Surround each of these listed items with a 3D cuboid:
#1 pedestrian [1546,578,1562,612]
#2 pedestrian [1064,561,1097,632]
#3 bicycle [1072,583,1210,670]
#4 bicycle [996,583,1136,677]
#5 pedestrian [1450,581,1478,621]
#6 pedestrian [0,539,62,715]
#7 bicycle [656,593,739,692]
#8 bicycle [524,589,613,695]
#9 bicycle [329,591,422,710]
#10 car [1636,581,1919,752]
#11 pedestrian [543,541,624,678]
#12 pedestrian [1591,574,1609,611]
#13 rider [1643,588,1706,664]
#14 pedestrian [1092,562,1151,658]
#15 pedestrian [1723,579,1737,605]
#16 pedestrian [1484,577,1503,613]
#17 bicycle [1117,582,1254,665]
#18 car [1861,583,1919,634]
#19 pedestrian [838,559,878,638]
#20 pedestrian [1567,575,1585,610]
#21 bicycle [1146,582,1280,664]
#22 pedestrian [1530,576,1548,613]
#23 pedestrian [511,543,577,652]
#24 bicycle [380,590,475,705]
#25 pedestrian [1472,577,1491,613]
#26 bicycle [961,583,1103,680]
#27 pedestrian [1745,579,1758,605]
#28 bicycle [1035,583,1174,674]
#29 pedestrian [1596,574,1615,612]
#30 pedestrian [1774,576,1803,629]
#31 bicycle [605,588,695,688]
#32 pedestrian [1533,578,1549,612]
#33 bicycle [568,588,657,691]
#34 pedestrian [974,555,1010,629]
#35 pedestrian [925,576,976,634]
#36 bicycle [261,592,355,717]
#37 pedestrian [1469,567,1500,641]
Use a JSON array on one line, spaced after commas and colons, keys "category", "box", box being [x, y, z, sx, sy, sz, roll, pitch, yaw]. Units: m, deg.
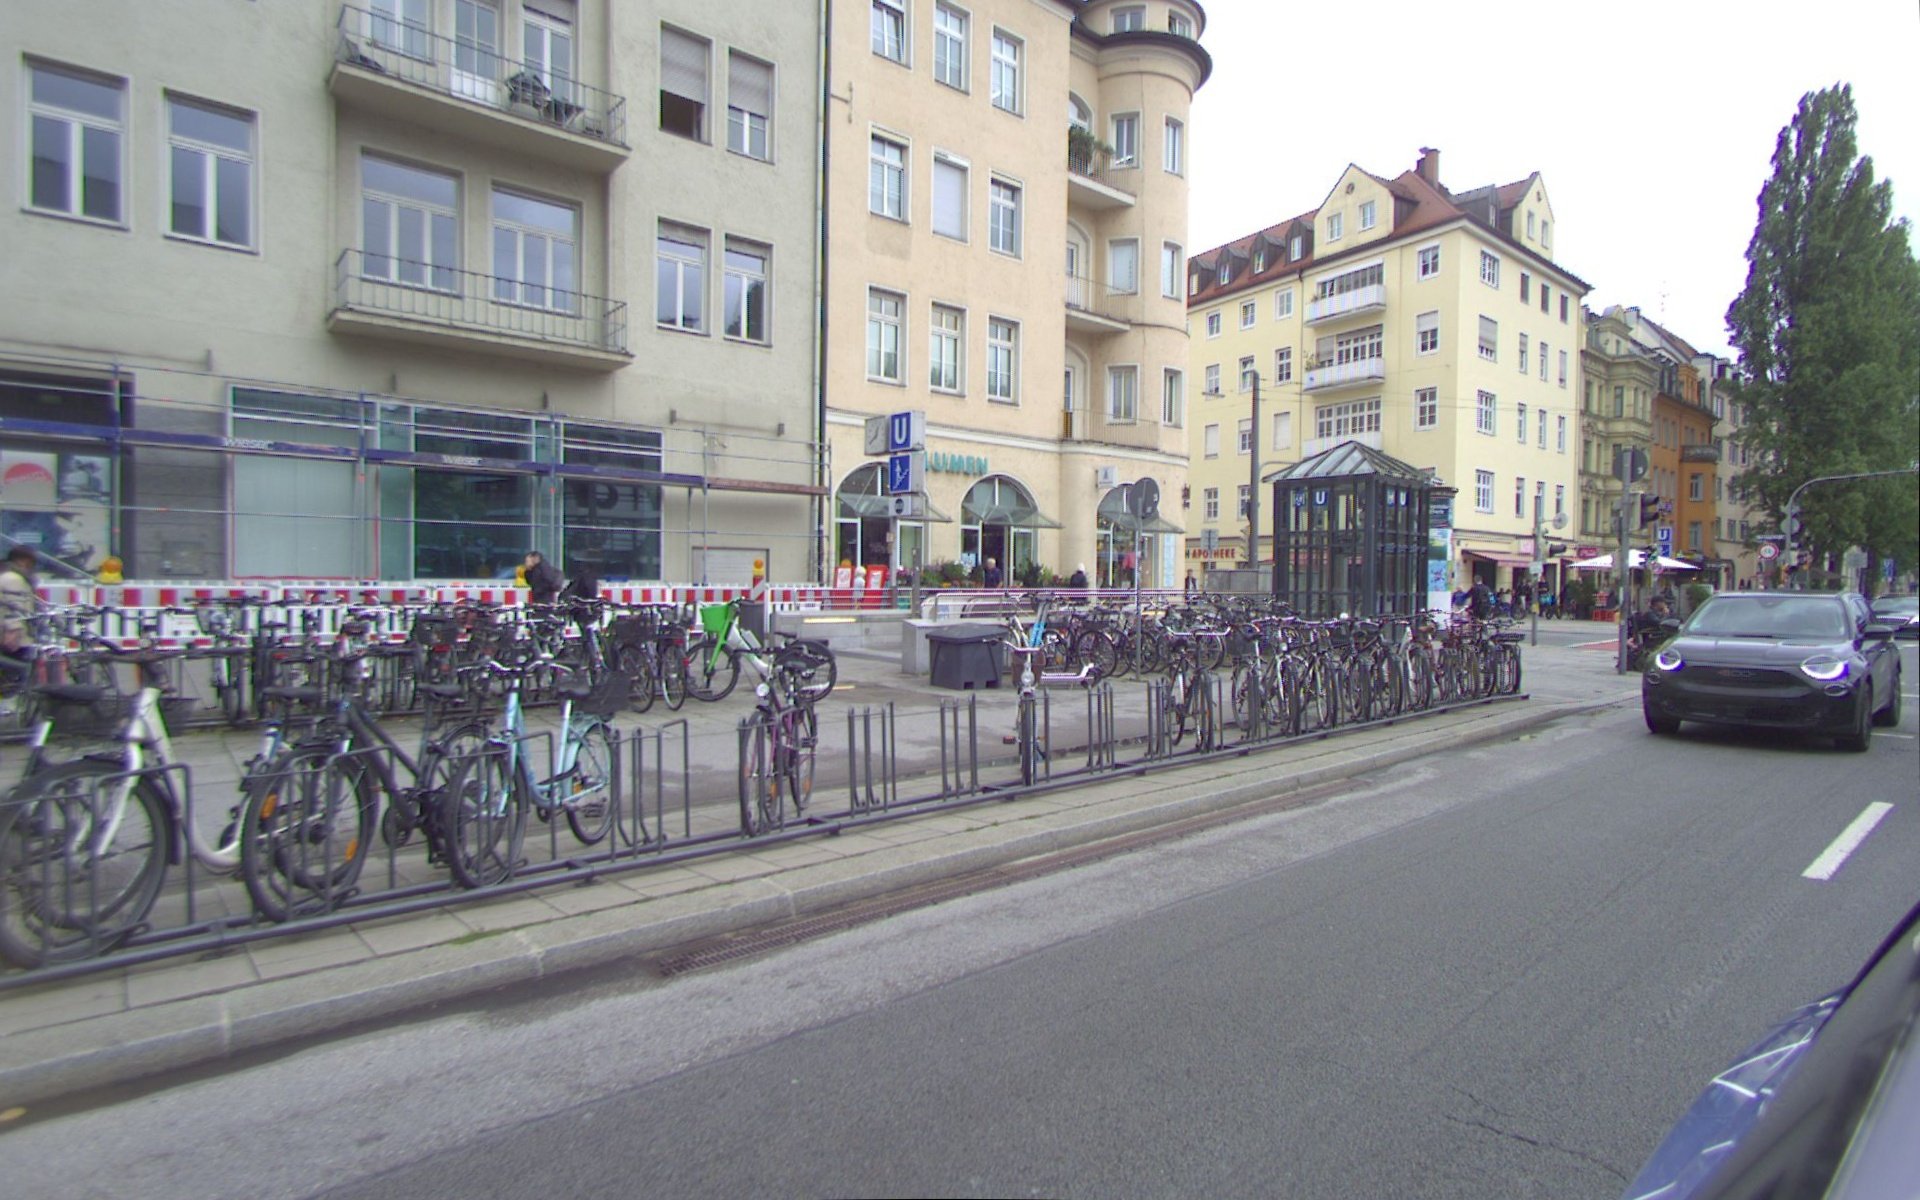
[{"category": "pedestrian", "box": [27.894, -0.241, 47.543, 0.527, 1.545, 0.576, 2, 1, 42]}, {"category": "pedestrian", "box": [2.974, -0.097, 24.935, 0.580, 1.722, 0.566, -2, 3, -41]}, {"category": "bicycle", "box": [2.812, 0.375, 16.010, 0.617, 1.242, 2.344, 0, 2, -37]}, {"category": "bicycle", "box": [1.520, 0.395, 15.026, 0.617, 1.242, 2.344, 0, 2, -37]}, {"category": "pedestrian", "box": [20.047, 0.033, 40.265, 0.817, 1.586, 0.714, -1, 0, -40]}, {"category": "pedestrian", "box": [-8.942, 0.234, 9.557, 0.656, 1.602, 0.531, 1, 1, 31]}, {"category": "bicycle", "box": [-3.316, 0.493, 12.691, 0.402, 1.091, 1.651, 0, 3, -37]}, {"category": "bicycle", "box": [-4.491, 0.446, 11.567, 0.403, 1.091, 1.449, -1, 3, -45]}, {"category": "bicycle", "box": [-6.044, 0.482, 10.437, 1.447, 1.091, 0.404, 3, 3, 42]}, {"category": "car", "box": [8.861, 0.554, 10.831, 3.980, 1.488, 1.738, 0, 1, -41]}, {"category": "pedestrian", "box": [-4.900, 0.111, 13.193, 0.728, 1.729, 0.703, 1, 1, 9]}, {"category": "pedestrian", "box": [30.135, -0.348, 47.648, 0.575, 1.705, 0.552, 0, 1, -39]}, {"category": "rider", "box": [12.707, 0.441, 17.993, 0.721, 1.256, 0.731, -1, 4, -43]}, {"category": "pedestrian", "box": [2.981, 0.165, 18.682, 0.804, 1.713, 0.747, 2, 1, 36]}, {"category": "pedestrian", "box": [51.771, -0.520, 68.040, 0.575, 1.705, 0.552, 0, 1, -39]}, {"category": "pedestrian", "box": [23.300, -0.228, 44.216, 0.575, 1.545, 0.528, 0, 1, -40]}, {"category": "bicycle", "box": [3.673, 0.343, 16.708, 0.617, 1.242, 2.331, 0, 2, -37]}, {"category": "car", "box": [32.334, 0.243, 34.519, 3.930, 1.644, 1.853, -1, 1, -40]}, {"category": "pedestrian", "box": [-2.054, -0.039, 20.369, 0.580, 1.560, 0.566, -2, 3, -41]}, {"category": "pedestrian", "box": [30.924, -0.381, 50.809, 0.575, 1.705, 0.552, 0, 1, -39]}, {"category": "bicycle", "box": [4.250, 0.348, 17.176, 0.617, 1.242, 2.319, 0, 2, -37]}, {"category": "pedestrian", "box": [26.338, -0.253, 46.060, 0.678, 1.687, 0.617, 2, 1, 29]}, {"category": "pedestrian", "box": [-6.492, -0.051, 15.797, 0.819, 1.652, 0.564, 0, 1, -37]}, {"category": "bicycle", "box": [-5.675, 0.473, 10.753, 1.447, 1.091, 0.404, 3, 3, 42]}, {"category": "pedestrian", "box": [22.967, -0.229, 44.597, 0.575, 1.545, 0.528, 0, 1, -40]}, {"category": "bicycle", "box": [0.985, 0.407, 14.628, 0.617, 1.242, 2.369, 0, 2, -37]}, {"category": "pedestrian", "box": [53.218, -0.540, 68.046, 0.575, 1.705, 0.552, 0, 1, -39]}, {"category": "bicycle", "box": [2.144, 0.382, 15.374, 0.617, 1.242, 2.319, 0, 2, -37]}, {"category": "pedestrian", "box": [29.851, -0.329, 46.782, 0.575, 1.705, 0.552, 0, 1, -39]}, {"category": "pedestrian", "box": [28.920, 0.075, 35.327, 0.729, 1.823, 0.700, 2, 3, 41]}, {"category": "bicycle", "box": [-3.778, 0.427, 12.275, 0.403, 1.091, 1.449, -1, 3, -45]}, {"category": "pedestrian", "box": [27.503, -0.241, 47.887, 0.527, 1.545, 0.576, 2, 1, 42]}, {"category": "bicycle", "box": [-4.110, 0.436, 11.927, 0.403, 1.091, 1.449, -1, 3, -45]}, {"category": "pedestrian", "box": [0.789, -0.213, 24.619, 0.634, 1.760, 0.617, -2, 3, -41]}, {"category": "pedestrian", "box": [-0.214, 0.096, 22.726, 0.903, 1.260, 0.700, -2, 3, -42]}, {"category": "bicycle", "box": [-6.419, 0.494, 9.944, 1.447, 1.091, 0.404, 3, 3, 42]}, {"category": "pedestrian", "box": [13.045, 0.082, 25.186, 0.634, 1.799, 0.605, 1, 1, 27]}]
